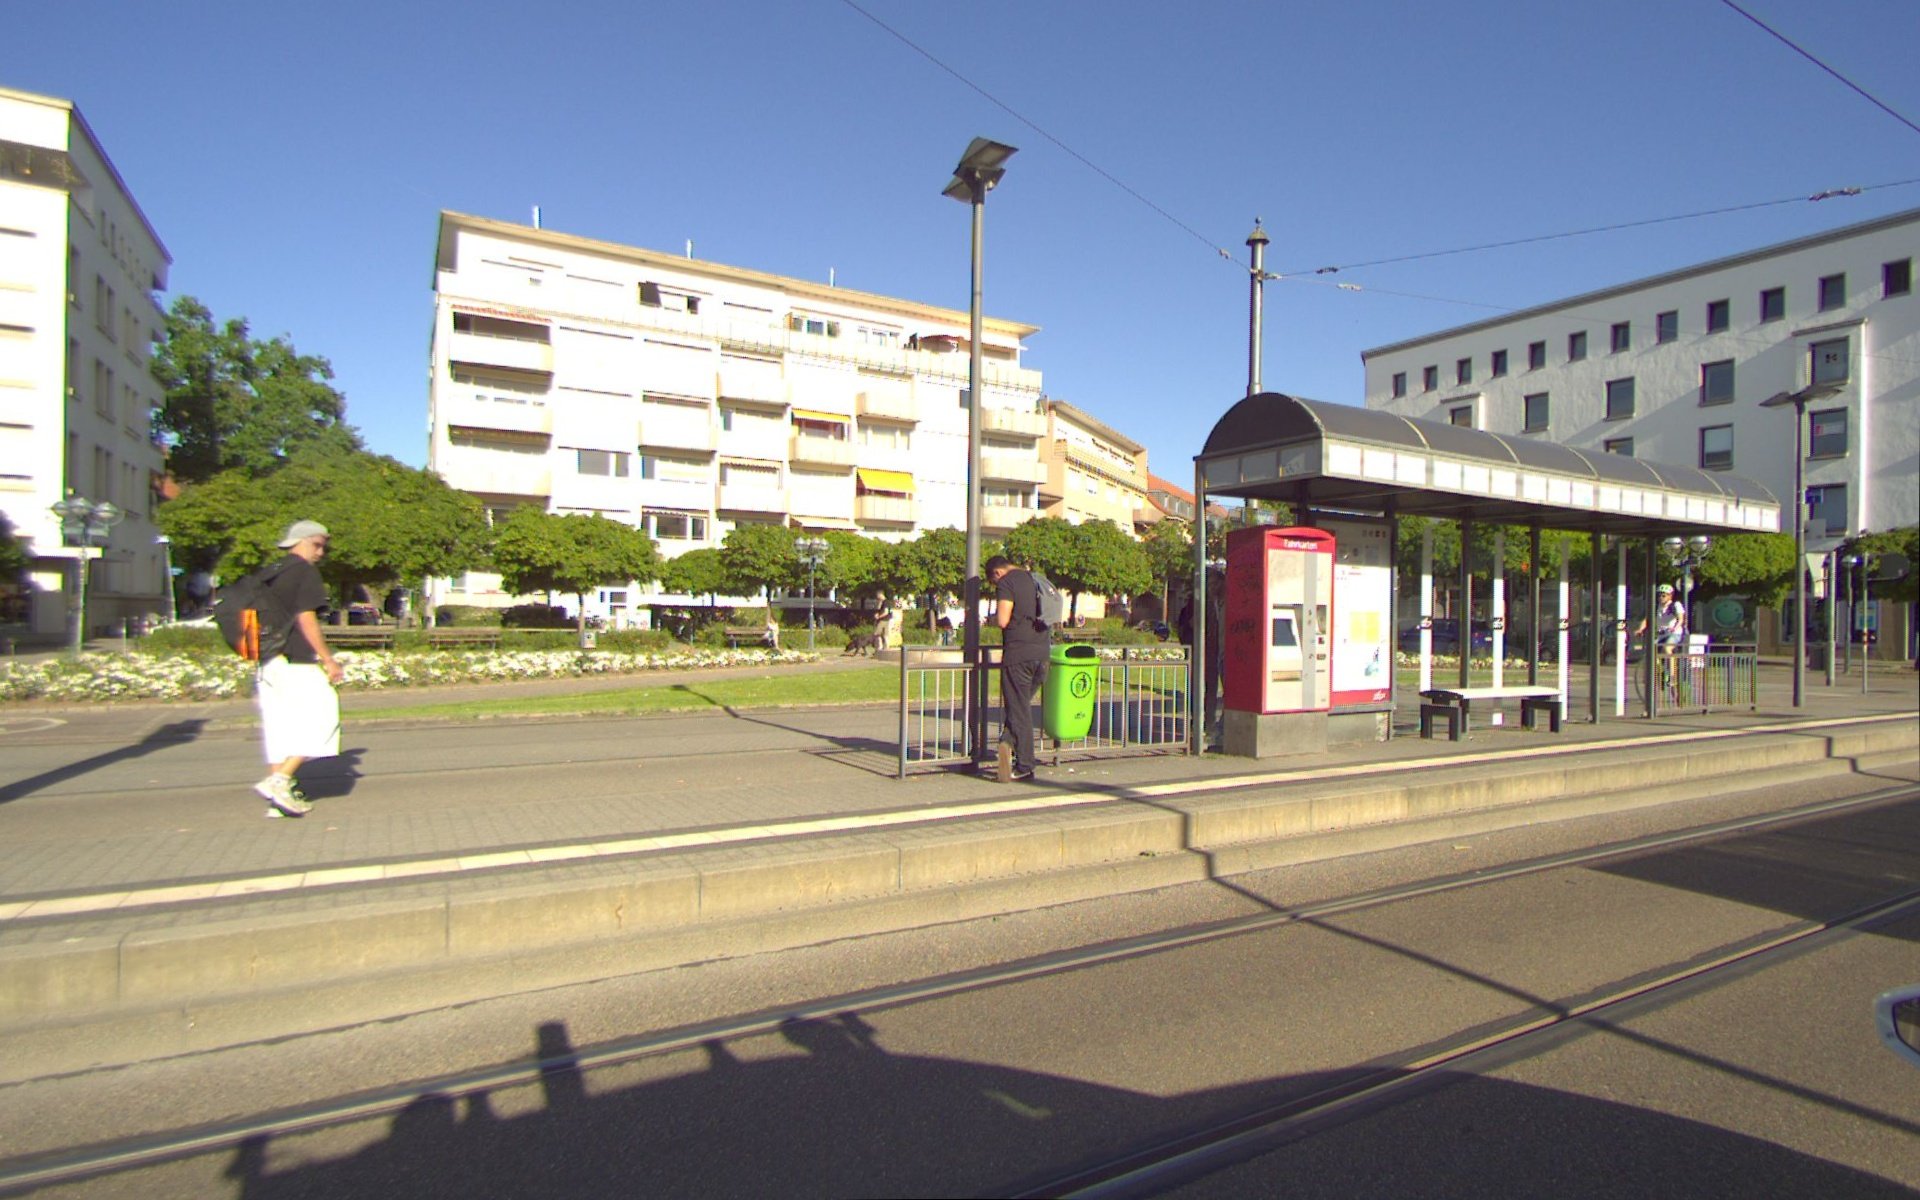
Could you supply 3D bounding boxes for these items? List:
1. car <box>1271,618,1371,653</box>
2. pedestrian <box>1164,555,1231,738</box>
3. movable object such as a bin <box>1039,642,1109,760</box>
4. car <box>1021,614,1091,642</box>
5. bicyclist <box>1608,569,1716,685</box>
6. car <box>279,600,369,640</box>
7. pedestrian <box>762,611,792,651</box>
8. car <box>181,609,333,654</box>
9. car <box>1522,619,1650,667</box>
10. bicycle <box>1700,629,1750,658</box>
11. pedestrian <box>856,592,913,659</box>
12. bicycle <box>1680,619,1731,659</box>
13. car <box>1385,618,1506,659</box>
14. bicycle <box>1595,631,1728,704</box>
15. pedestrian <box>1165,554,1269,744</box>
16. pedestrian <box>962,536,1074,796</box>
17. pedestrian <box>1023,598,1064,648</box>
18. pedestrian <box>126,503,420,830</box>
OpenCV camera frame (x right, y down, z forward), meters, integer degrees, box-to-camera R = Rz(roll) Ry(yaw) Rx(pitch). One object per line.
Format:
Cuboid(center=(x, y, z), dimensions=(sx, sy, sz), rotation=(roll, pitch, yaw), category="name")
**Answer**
Cuboid(center=(17.923, 1.733, 50.080), dimensions=(1.834, 1.628, 4.581), rotation=(1, -1, -31), category="car")
Cuboid(center=(2.514, 0.490, 10.658), dimensions=(0.519, 1.883, 0.426), rotation=(1, -3, -27), category="pedestrian")
Cuboid(center=(0.875, 0.763, 7.732), dimensions=(0.411, 0.871, 0.335), rotation=(1, -1, -27), category="movable object such as a bin")
Cuboid(center=(4.984, 1.455, 52.186), dimensions=(3.271, 1.372, 1.638), rotation=(1, -1, -29), category="car")
Cuboid(center=(11.439, 0.431, 16.393), dimensions=(1.078, 1.817, 1.003), rotation=(1, -1, -18), category="bicyclist")
Cuboid(center=(-24.944, 0.787, 39.465), dimensions=(2.899, 1.506, 1.407), rotation=(1, -1, -30), category="car")
Cuboid(center=(-6.533, 1.104, 35.793), dimensions=(0.672, 1.378, 1.042), rotation=(1, -1, -34), category="pedestrian")
Cuboid(center=(-21.821, 0.977, 31.368), dimensions=(3.671, 1.318, 1.984), rotation=(1, -1, -30), category="car")
Cuboid(center=(24.803, 1.672, 39.943), dimensions=(1.804, 1.728, 3.968), rotation=(1, -1, -30), category="car")
Cuboid(center=(31.952, 1.810, 41.942), dimensions=(2.586, 1.206, 0.615), rotation=(1, -1, -27), category="bicycle")
Cuboid(center=(-2.120, 0.701, 28.167), dimensions=(1.158, 1.811, 1.078), rotation=(0, -1, 36), category="pedestrian")
Cuboid(center=(31.627, 1.658, 42.587), dimensions=(2.585, 1.628, 0.616), rotation=(1, -1, -26), category="bicycle")
Cuboid(center=(21.652, 1.688, 44.965), dimensions=(1.978, 1.684, 4.581), rotation=(1, -1, -31), category="car")
Cuboid(center=(11.451, 1.088, 16.405), dimensions=(2.003, 1.141, 0.711), rotation=(1, -1, -17), category="bicycle")
Cuboid(center=(2.544, 0.483, 9.969), dimensions=(0.760, 1.797, 0.613), rotation=(1, -3, -28), category="pedestrian")
Cuboid(center=(0.401, 0.456, 7.123), dimensions=(0.599, 1.740, 0.546), rotation=(1, -3, -27), category="pedestrian")
Cuboid(center=(3.463, 0.953, 41.674), dimensions=(1.219, 2.040, 1.214), rotation=(1, -1, -30), category="pedestrian")
Cuboid(center=(-3.889, 0.362, 5.779), dimensions=(0.976, 1.702, 0.975), rotation=(0, -2, 7), category="pedestrian")
